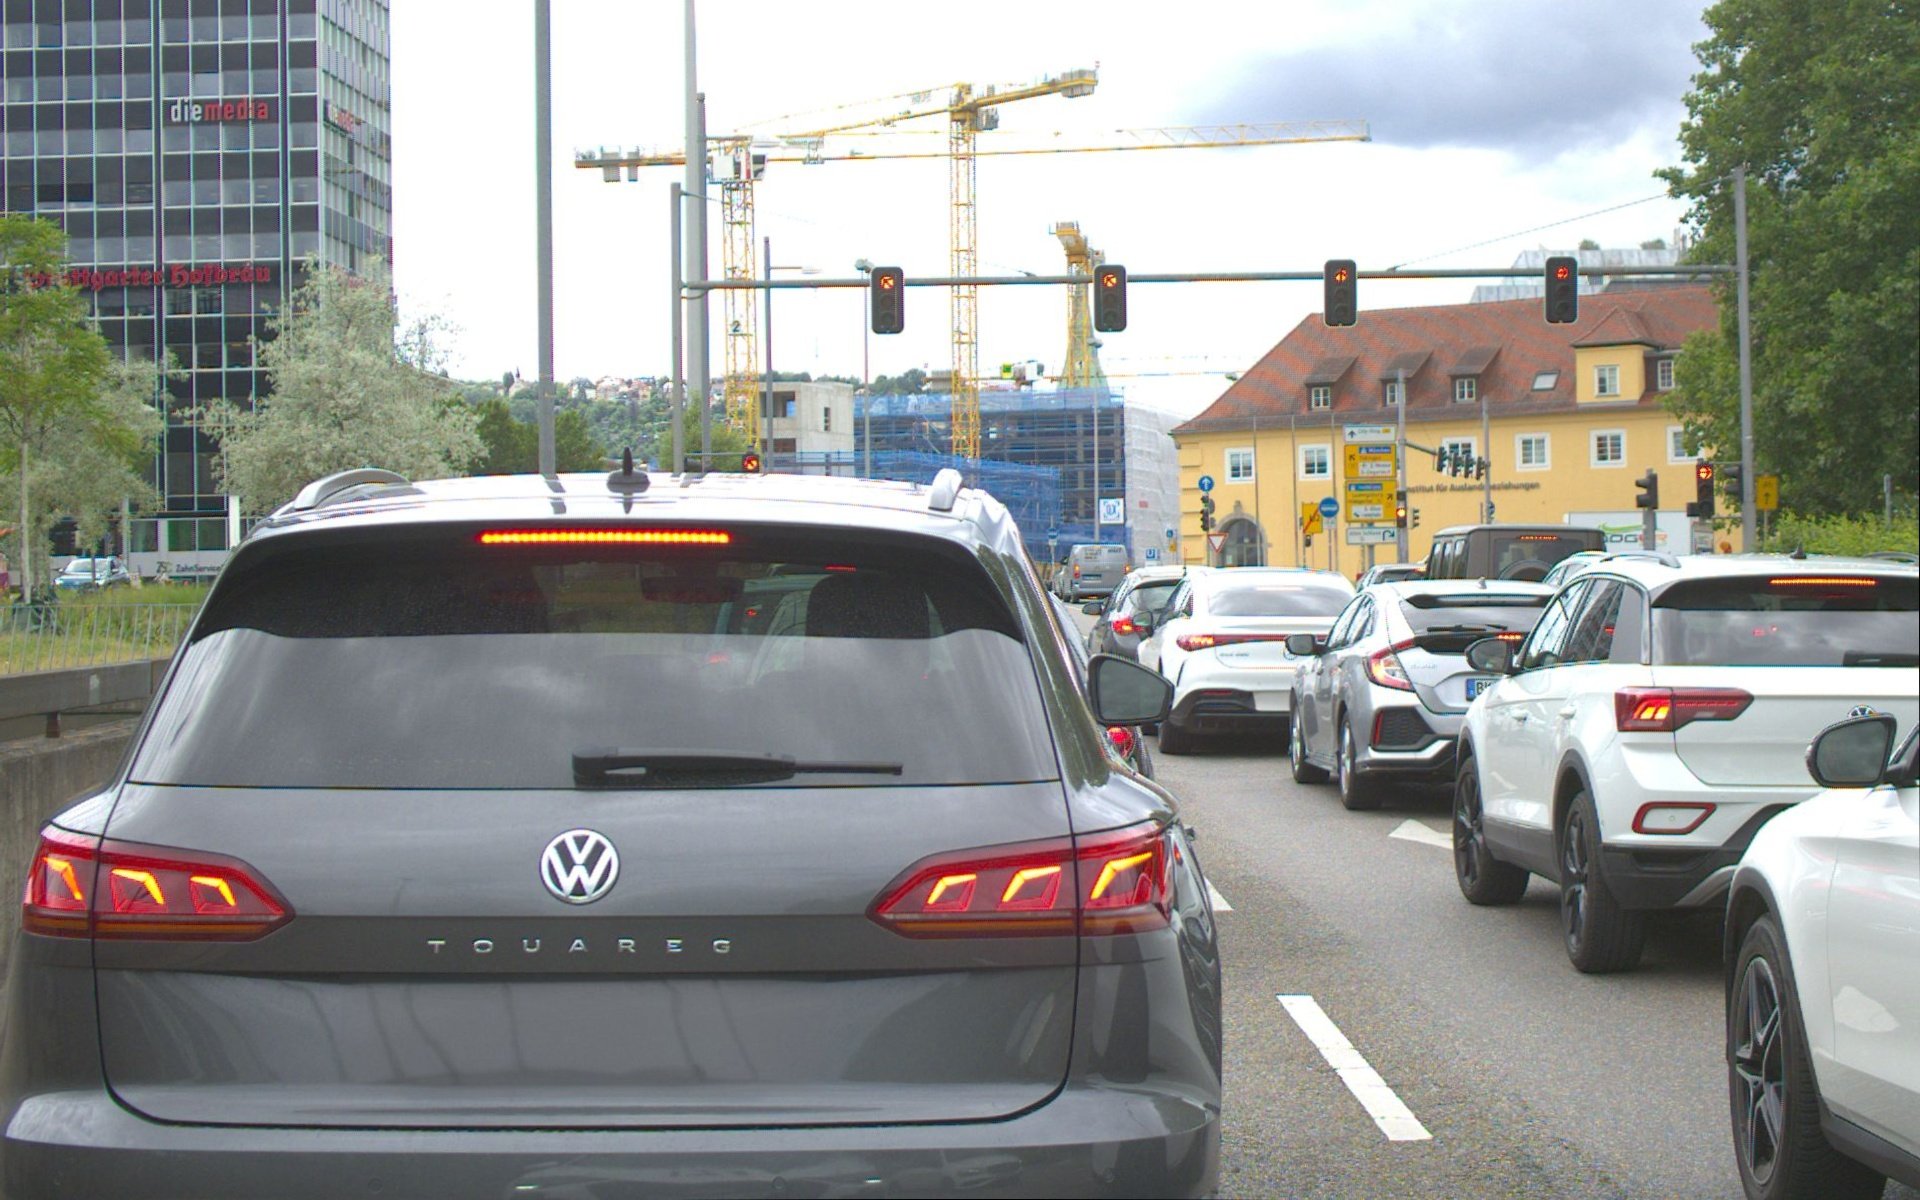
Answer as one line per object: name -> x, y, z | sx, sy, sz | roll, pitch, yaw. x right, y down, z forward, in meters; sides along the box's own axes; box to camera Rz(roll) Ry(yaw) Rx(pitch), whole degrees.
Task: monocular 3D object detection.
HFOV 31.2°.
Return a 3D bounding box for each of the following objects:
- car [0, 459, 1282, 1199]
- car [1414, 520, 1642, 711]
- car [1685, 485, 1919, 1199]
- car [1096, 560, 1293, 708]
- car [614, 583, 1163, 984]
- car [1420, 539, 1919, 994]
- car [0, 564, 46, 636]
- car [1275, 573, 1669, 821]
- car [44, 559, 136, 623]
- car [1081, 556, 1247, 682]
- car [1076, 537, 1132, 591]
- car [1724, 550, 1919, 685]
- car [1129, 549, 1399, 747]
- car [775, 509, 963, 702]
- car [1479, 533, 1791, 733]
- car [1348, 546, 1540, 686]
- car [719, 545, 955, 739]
car -> -0.570, 0.610, 6.661 | 1.951, 1.646, 4.000 | 0, 1, -1
car -> 6.395, 0.161, 39.111 | 1.910, 2.007, 4.012 | 1, 0, 0
car -> 2.719, 0.617, 6.174 | 1.926, 1.648, 4.490 | 0, 1, 1
car -> 2.514, 0.353, 37.744 | 1.926, 1.524, 4.047 | 0, 0, 1
car -> -0.287, 0.654, 14.398 | 1.951, 1.379, 3.931 | 1, 1, -1
car -> 3.109, 0.566, 13.966 | 1.926, 1.545, 4.489 | 0, 0, 1
car -> -28.984, -0.017, 102.910 | 1.993, 2.006, 4.692 | 0, 2, 0
car -> 3.176, 0.560, 22.198 | 1.926, 1.427, 4.489 | 0, 0, 1
car -> -29.645, -0.329, 117.271 | 1.993, 2.006, 4.692 | 0, 2, -1
car -> 2.558, 0.232, 44.031 | 1.926, 1.524, 4.047 | 0, 0, 1
car -> 4.644, -1.148, 111.367 | 1.619, 1.622, 4.000 | 1, -1, 0
car -> 10.222, 0.216, 40.002 | 1.931, 1.455, 4.526 | 1, 0, 4
car -> 2.468, 0.368, 28.923 | 1.926, 1.524, 4.489 | 0, 0, 1
car -> -0.996, 0.039, 38.559 | 1.951, 2.011, 3.931 | 1, 1, -1
car -> 6.253, 0.249, 32.341 | 1.993, 1.634, 4.305 | 0, 3, -1
car -> 6.231, 0.193, 44.691 | 1.910, 1.691, 4.012 | 1, 0, 0
car -> -1.067, 0.334, 31.026 | 1.951, 1.594, 3.931 | 1, 1, -1
